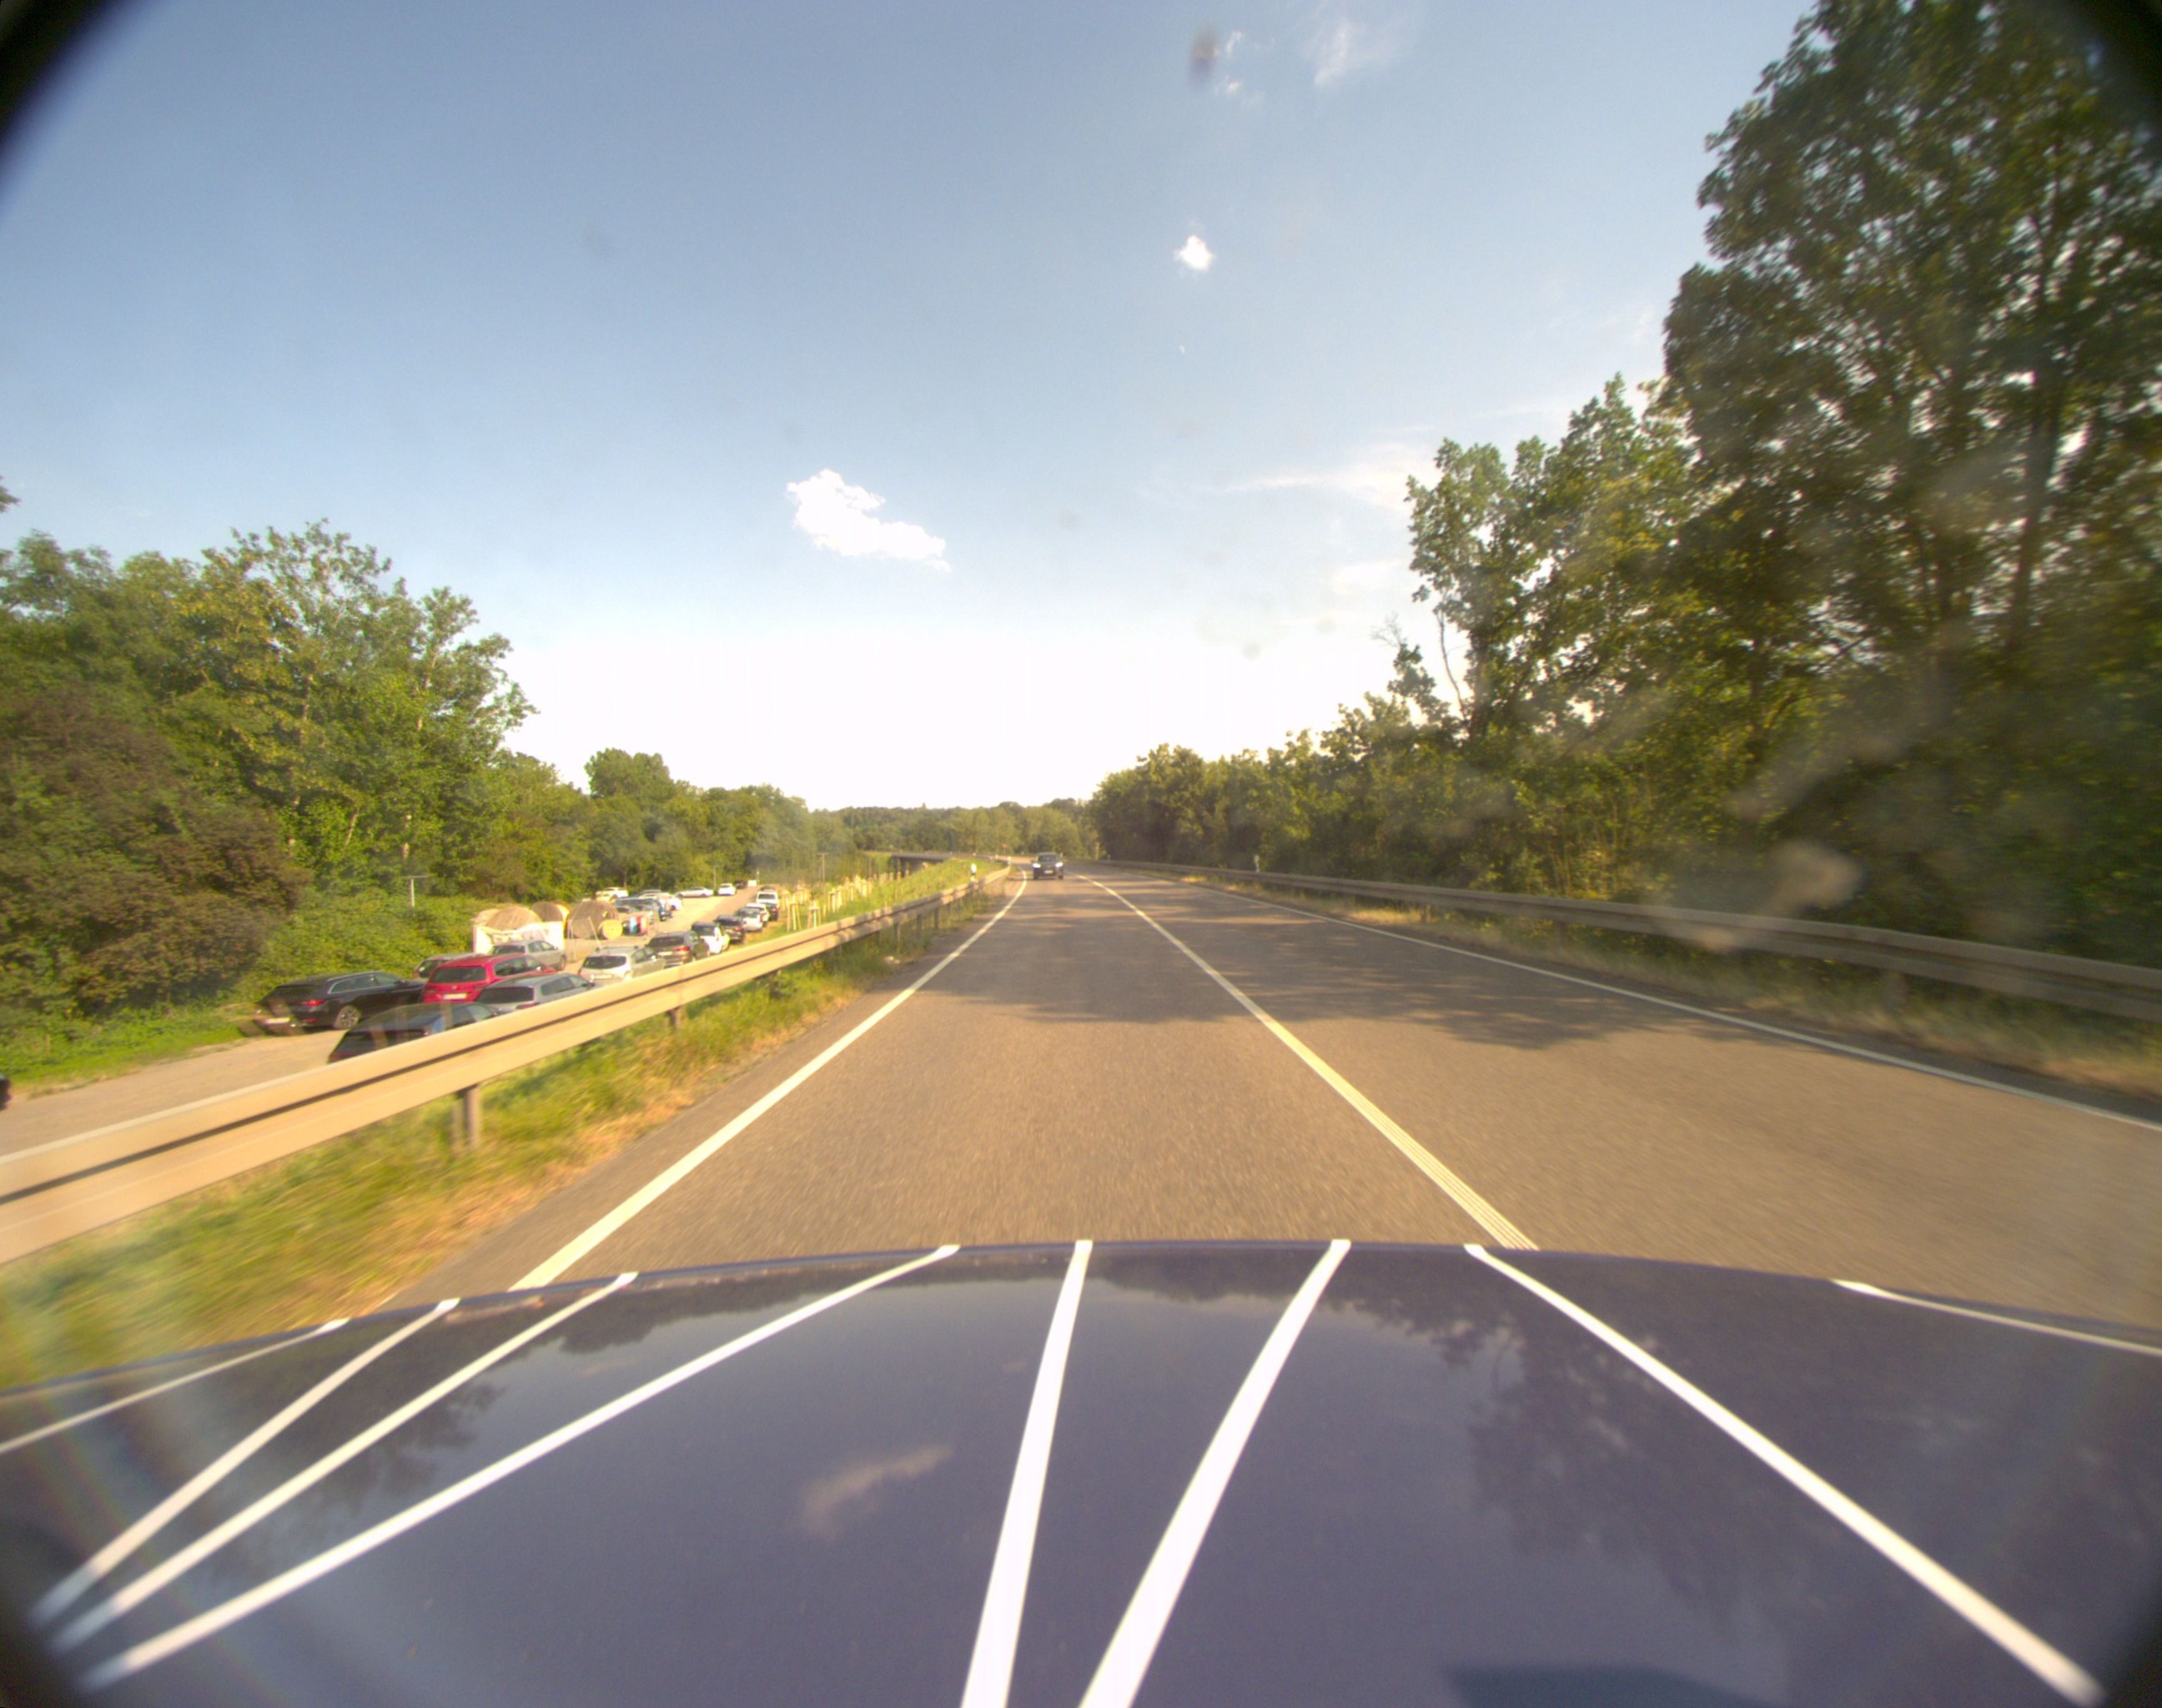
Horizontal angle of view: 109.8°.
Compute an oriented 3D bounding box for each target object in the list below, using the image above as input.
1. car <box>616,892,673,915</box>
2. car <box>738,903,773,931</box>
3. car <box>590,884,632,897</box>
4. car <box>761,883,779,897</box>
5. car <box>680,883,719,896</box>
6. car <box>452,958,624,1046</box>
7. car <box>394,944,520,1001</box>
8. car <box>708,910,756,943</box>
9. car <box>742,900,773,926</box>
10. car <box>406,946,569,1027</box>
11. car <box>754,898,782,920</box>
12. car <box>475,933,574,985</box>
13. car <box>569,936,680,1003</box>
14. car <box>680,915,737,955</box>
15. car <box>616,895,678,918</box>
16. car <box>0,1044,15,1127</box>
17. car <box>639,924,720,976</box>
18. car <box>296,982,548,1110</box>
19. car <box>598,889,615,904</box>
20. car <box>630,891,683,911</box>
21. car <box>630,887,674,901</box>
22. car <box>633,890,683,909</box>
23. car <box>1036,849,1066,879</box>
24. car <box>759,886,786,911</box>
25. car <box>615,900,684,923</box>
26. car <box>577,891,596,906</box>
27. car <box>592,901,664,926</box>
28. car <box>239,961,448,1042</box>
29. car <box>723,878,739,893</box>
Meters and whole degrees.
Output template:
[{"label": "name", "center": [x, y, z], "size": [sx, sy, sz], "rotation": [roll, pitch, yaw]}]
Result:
[{"label": "car", "center": [-38.415, 4.335, 66.975], "size": [4.252, 1.732, 1.830], "rotation": [-2, 0, -27]}, {"label": "car", "center": [-21.226, 4.099, 49.720], "size": [1.900, 1.550, 4.774], "rotation": [2, -2, -22]}, {"label": "car", "center": [-59.692, 4.661, 96.612], "size": [4.249, 1.447, 1.711], "rotation": [-1, 0, -16]}, {"label": "car", "center": [-39.172, 4.542, 95.689], "size": [1.826, 1.649, 4.248], "rotation": [1, -1, -26]}, {"label": "car", "center": [-48.850, 4.547, 97.347], "size": [4.251, 1.447, 1.614], "rotation": [0, -1, -22]}, {"label": "car", "center": [-14.464, 3.892, 20.643], "size": [1.898, 1.550, 4.779], "rotation": [2, -2, -10]}, {"label": "car", "center": [-22.008, 4.139, 27.004], "size": [1.707, 1.390, 3.941], "rotation": [2, 0, -9]}, {"label": "car", "center": [-19.859, 4.106, 43.403], "size": [1.900, 1.550, 4.775], "rotation": [2, -2, -18]}, {"label": "car", "center": [-23.253, 4.217, 54.798], "size": [1.900, 1.550, 4.774], "rotation": [2, -2, -22]}, {"label": "car", "center": [-18.082, 3.957, 23.525], "size": [1.898, 1.677, 5.082], "rotation": [0, -1, -11]}, {"label": "car", "center": [-24.890, 4.370, 60.540], "size": [1.900, 1.473, 4.774], "rotation": [2, -2, -22]}, {"label": "car", "center": [-22.535, 4.206, 30.950], "size": [1.707, 1.501, 3.940], "rotation": [-1, 0, -11]}, {"label": "car", "center": [-15.807, 3.939, 26.591], "size": [1.899, 1.550, 4.777], "rotation": [-1, 0, -13]}, {"label": "car", "center": [-18.550, 4.000, 38.044], "size": [1.900, 1.550, 4.775], "rotation": [2, -2, -18]}, {"label": "car", "center": [-36.433, 4.407, 63.933], "size": [4.251, 1.595, 1.830], "rotation": [-2, 1, -22]}, {"label": "car", "center": [-19.903, 4.026, 11.100], "size": [1.704, 1.390, 4.787], "rotation": [2, 0, 7]}, {"label": "car", "center": [-16.785, 3.963, 32.047], "size": [1.899, 1.550, 4.776], "rotation": [-1, 0, -14]}, {"label": "car", "center": [-13.314, 3.783, 15.831], "size": [1.899, 1.550, 4.777], "rotation": [2, -2, -13]}, {"label": "car", "center": [-51.828, 4.654, 82.963], "size": [1.502, 1.447, 3.666], "rotation": [0, -1, -33]}, {"label": "car", "center": [-40.373, 4.463, 72.422], "size": [4.252, 1.489, 1.768], "rotation": [-2, 0, -27]}, {"label": "car", "center": [-47.623, 4.433, 84.413], "size": [4.253, 1.447, 1.614], "rotation": [-1, 0, -28]}, {"label": "car", "center": [-41.555, 4.465, 74.724], "size": [4.252, 1.447, 1.614], "rotation": [-2, 1, -28]}, {"label": "car", "center": [-1.844, 0.576, 47.452], "size": [1.751, 1.645, 4.304], "rotation": [-1, 2, -2]}, {"label": "car", "center": [-27.983, 3.978, 68.915], "size": [2.128, 2.005, 5.370], "rotation": [2, -2, -22]}, {"label": "car", "center": [-33.410, 4.435, 58.915], "size": [4.246, 1.480, 1.833], "rotation": [-2, -1, -7]}, {"label": "car", "center": [-51.944, 4.659, 79.883], "size": [1.620, 1.447, 4.236], "rotation": [0, -1, -33]}, {"label": "car", "center": [-33.399, 4.391, 56.142], "size": [4.251, 1.481, 1.830], "rotation": [-2, 1, -21]}, {"label": "car", "center": [-20.756, 4.096, 21.739], "size": [1.706, 1.390, 4.781], "rotation": [2, 0, -6]}, {"label": "car", "center": [-47.847, 4.301, 103.863], "size": [1.661, 1.657, 4.699], "rotation": [-1, 1, -21]}]
